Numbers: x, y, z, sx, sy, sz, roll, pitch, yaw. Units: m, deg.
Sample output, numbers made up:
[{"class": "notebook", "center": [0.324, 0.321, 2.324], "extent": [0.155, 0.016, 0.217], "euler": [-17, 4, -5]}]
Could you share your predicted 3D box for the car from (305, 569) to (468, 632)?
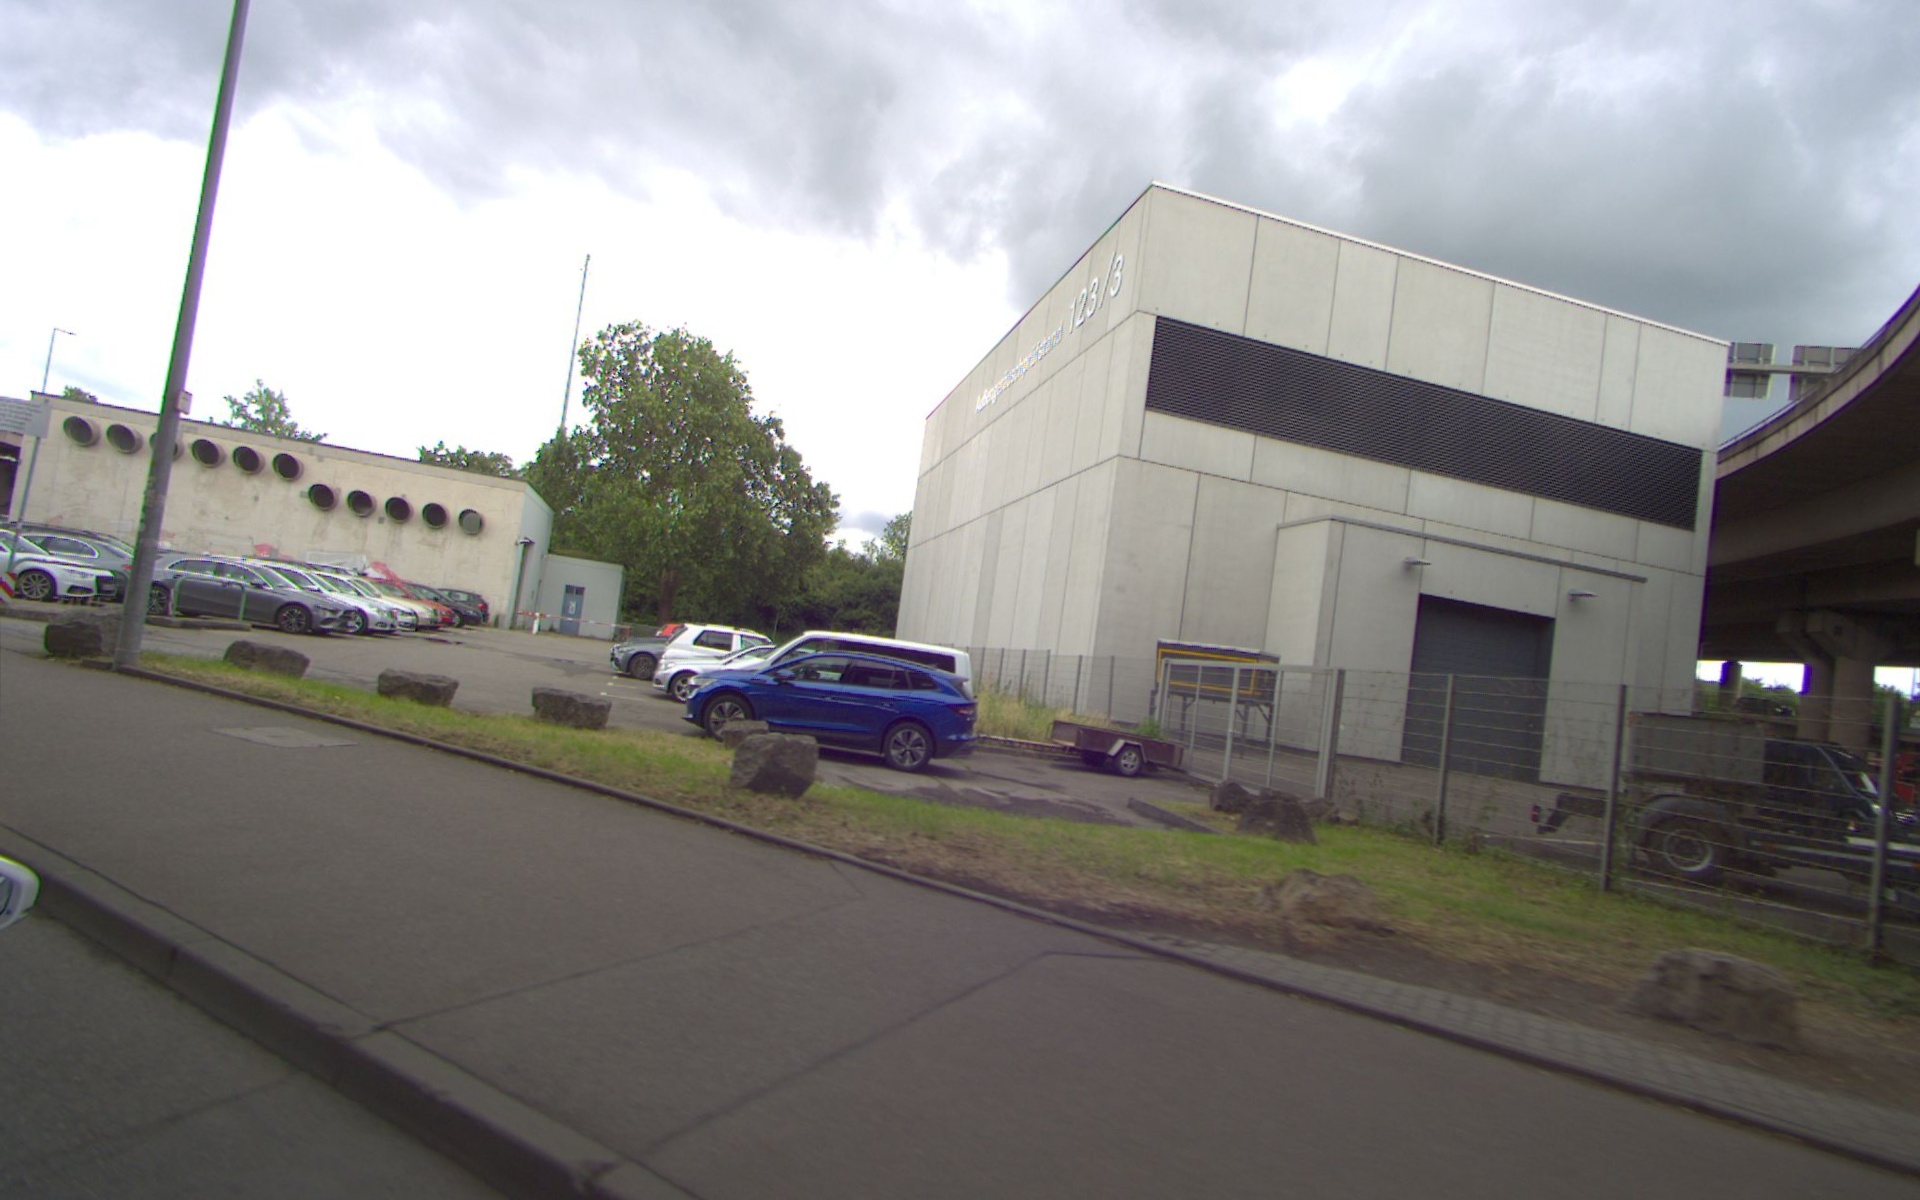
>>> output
[{"class": "car", "center": [-19.707, 0.058, 34.771], "extent": [4.374, 1.441, 1.836], "euler": [9, -3, -14]}]

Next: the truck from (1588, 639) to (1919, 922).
[{"class": "truck", "center": [11.659, 2.377, 12.691], "extent": [6.023, 2.918, 2.455], "euler": [6, -3, 35]}]

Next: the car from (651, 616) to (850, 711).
[{"class": "car", "center": [-4.940, 1.493, 23.805], "extent": [4.295, 1.605, 1.771], "euler": [9, -2, -15]}]

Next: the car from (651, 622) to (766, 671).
[{"class": "car", "center": [-9.937, 1.843, 39.681], "extent": [4.140, 1.313, 1.691], "euler": [9, -3, -19]}]

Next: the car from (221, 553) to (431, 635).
[{"class": "car", "center": [-17.558, -0.126, 28.100], "extent": [4.432, 1.530, 1.836], "euler": [9, -3, -14]}]

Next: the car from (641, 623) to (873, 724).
[{"class": "car", "center": [-4.256, 1.540, 21.398], "extent": [4.481, 1.473, 1.773], "euler": [9, -2, -11]}]

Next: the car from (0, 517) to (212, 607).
[{"class": "car", "center": [-22.703, -0.990, 26.274], "extent": [4.553, 1.645, 1.854], "euler": [9, -3, -16]}]

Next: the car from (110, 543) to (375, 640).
[{"class": "car", "center": [-16.152, -0.138, 22.914], "extent": [4.374, 1.441, 1.836], "euler": [9, -3, -14]}]

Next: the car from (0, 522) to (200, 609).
[{"class": "car", "center": [-21.555, -0.897, 24.279], "extent": [4.618, 1.491, 1.854], "euler": [9, -3, -16]}]

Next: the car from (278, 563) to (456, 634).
[{"class": "car", "center": [-18.960, -0.005, 32.368], "extent": [4.432, 1.530, 1.836], "euler": [9, -3, -14]}]

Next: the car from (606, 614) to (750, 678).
[{"class": "car", "center": [-9.249, 1.508, 33.054], "extent": [4.301, 1.473, 1.769], "euler": [9, -3, -19]}]

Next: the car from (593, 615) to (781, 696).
[{"class": "car", "center": [-6.844, 1.395, 25.522], "extent": [4.293, 1.399, 1.772], "euler": [9, -2, -13]}]

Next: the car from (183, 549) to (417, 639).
[{"class": "car", "center": [-16.626, -0.099, 25.598], "extent": [4.432, 1.530, 1.836], "euler": [9, -3, -14]}]

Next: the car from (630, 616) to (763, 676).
[{"class": "car", "center": [-9.348, 1.614, 35.651], "extent": [4.301, 1.473, 1.769], "euler": [9, -3, -19]}]

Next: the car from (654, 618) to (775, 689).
[{"class": "car", "center": [-6.898, 1.498, 28.410], "extent": [3.050, 1.561, 1.620], "euler": [9, -2, -13]}]

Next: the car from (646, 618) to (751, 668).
[{"class": "car", "center": [-10.911, 1.792, 42.024], "extent": [4.009, 1.476, 1.492], "euler": [9, -2, -19]}]

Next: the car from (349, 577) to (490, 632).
[{"class": "car", "center": [-21.045, 0.190, 39.353], "extent": [4.374, 1.441, 1.836], "euler": [9, -3, -14]}]

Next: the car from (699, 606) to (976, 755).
[{"class": "car", "center": [-2.224, 1.463, 18.574], "extent": [4.601, 1.979, 1.893], "euler": [8, -2, -8]}]

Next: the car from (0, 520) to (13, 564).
[{"class": "car", "center": [-35.850, -2.385, 34.678], "extent": [4.199, 1.525, 1.704], "euler": [9, -3, -17]}]

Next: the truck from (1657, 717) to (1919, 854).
[{"class": "truck", "center": [25.851, 5.573, 30.931], "extent": [3.001, 2.964, 6.923], "euler": [9, -3, -10]}]

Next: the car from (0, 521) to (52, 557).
[{"class": "car", "center": [-46.234, -3.140, 47.746], "extent": [4.131, 1.424, 1.833], "euler": [9, -3, -17]}]

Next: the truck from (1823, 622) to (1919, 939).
[{"class": "truck", "center": [12.005, 2.020, 8.091], "extent": [7.112, 2.774, 2.424], "euler": [6, -3, 29]}]

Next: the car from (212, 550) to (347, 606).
[{"class": "car", "center": [-26.862, -0.840, 39.863], "extent": [3.918, 1.549, 1.765], "euler": [9, -3, -16]}]

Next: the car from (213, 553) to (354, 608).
[{"class": "car", "center": [-25.382, -0.702, 37.888], "extent": [3.918, 1.407, 1.765], "euler": [9, -3, -16]}]

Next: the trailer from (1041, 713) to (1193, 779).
[{"class": "trailer", "center": [3.085, 2.886, 19.891], "extent": [2.523, 0.909, 1.479], "euler": [8, -3, -18]}]

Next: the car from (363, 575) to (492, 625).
[{"class": "car", "center": [-22.534, 0.030, 42.758], "extent": [4.374, 1.441, 1.836], "euler": [9, -3, -14]}]

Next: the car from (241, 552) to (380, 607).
[{"class": "car", "center": [-27.315, -0.813, 42.455], "extent": [4.423, 1.549, 1.765], "euler": [9, -3, -16]}]

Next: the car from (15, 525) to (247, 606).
[{"class": "car", "center": [-23.306, -0.915, 28.489], "extent": [4.553, 1.459, 1.854], "euler": [9, -3, -16]}]

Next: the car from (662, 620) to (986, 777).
[{"class": "car", "center": [-1.984, 1.493, 15.665], "extent": [4.598, 1.653, 1.778], "euler": [8, -2, 2]}]

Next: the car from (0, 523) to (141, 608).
[{"class": "car", "center": [-20.902, -0.935, 21.620], "extent": [4.615, 1.491, 1.855], "euler": [9, -3, -14]}]
